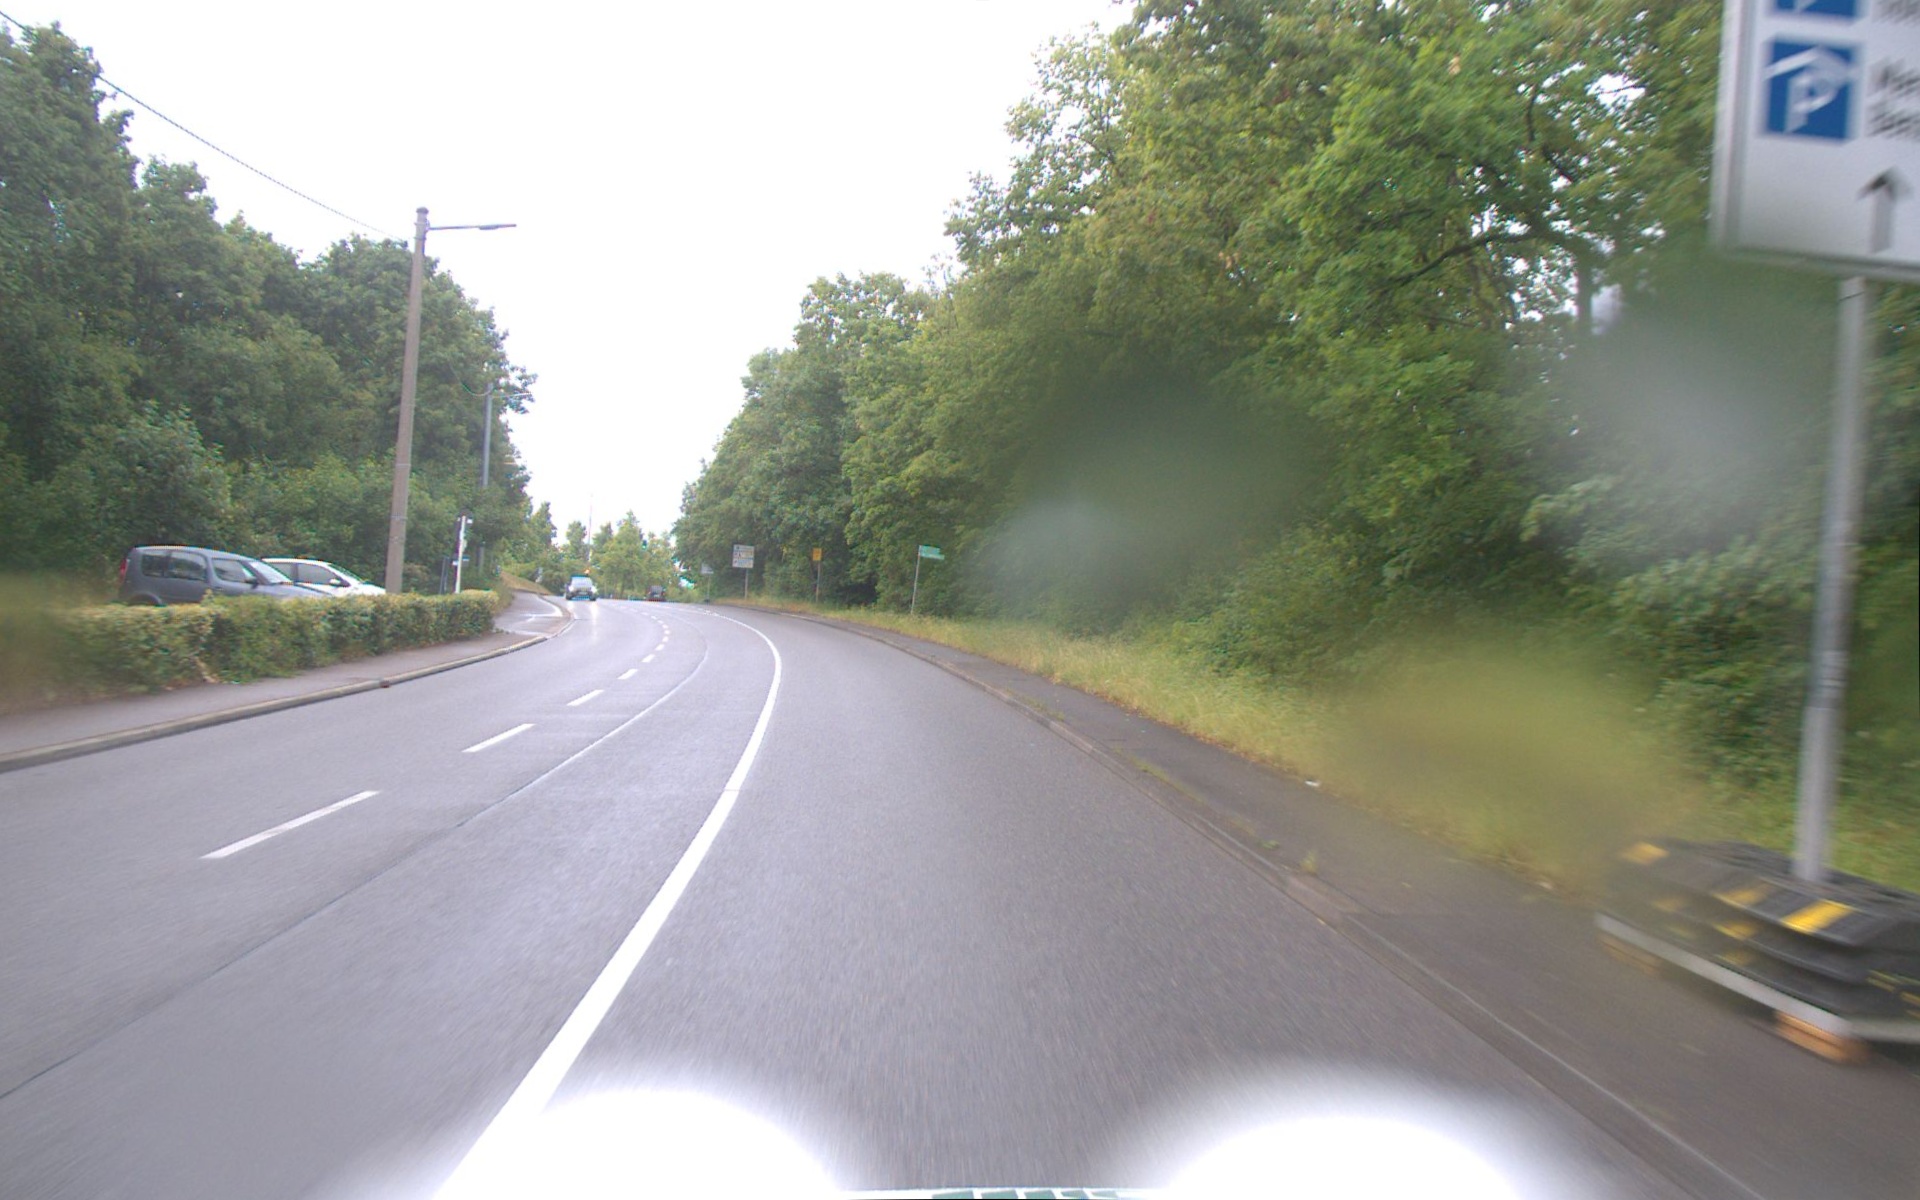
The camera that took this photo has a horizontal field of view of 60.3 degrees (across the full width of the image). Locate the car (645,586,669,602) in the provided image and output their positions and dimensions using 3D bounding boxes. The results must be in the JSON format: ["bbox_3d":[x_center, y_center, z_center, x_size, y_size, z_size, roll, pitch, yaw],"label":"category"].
[{"bbox_3d":[-30.132,-0.625,164.685,1.898,1.524,4.313,2,0,-6],"label":"car"}]

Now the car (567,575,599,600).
[{"bbox_3d":[-23.948,-0.788,105.110,1.901,1.524,4.304,2,0,-13],"label":"car"}]

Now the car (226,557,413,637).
[{"bbox_3d":[-14.510,-0.068,37.635,3.578,1.619,1.847,2,0,-10],"label":"car"}]

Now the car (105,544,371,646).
[{"bbox_3d":[-13.889,-0.090,32.019,4.205,1.738,1.999,2,0,-3],"label":"car"}]
